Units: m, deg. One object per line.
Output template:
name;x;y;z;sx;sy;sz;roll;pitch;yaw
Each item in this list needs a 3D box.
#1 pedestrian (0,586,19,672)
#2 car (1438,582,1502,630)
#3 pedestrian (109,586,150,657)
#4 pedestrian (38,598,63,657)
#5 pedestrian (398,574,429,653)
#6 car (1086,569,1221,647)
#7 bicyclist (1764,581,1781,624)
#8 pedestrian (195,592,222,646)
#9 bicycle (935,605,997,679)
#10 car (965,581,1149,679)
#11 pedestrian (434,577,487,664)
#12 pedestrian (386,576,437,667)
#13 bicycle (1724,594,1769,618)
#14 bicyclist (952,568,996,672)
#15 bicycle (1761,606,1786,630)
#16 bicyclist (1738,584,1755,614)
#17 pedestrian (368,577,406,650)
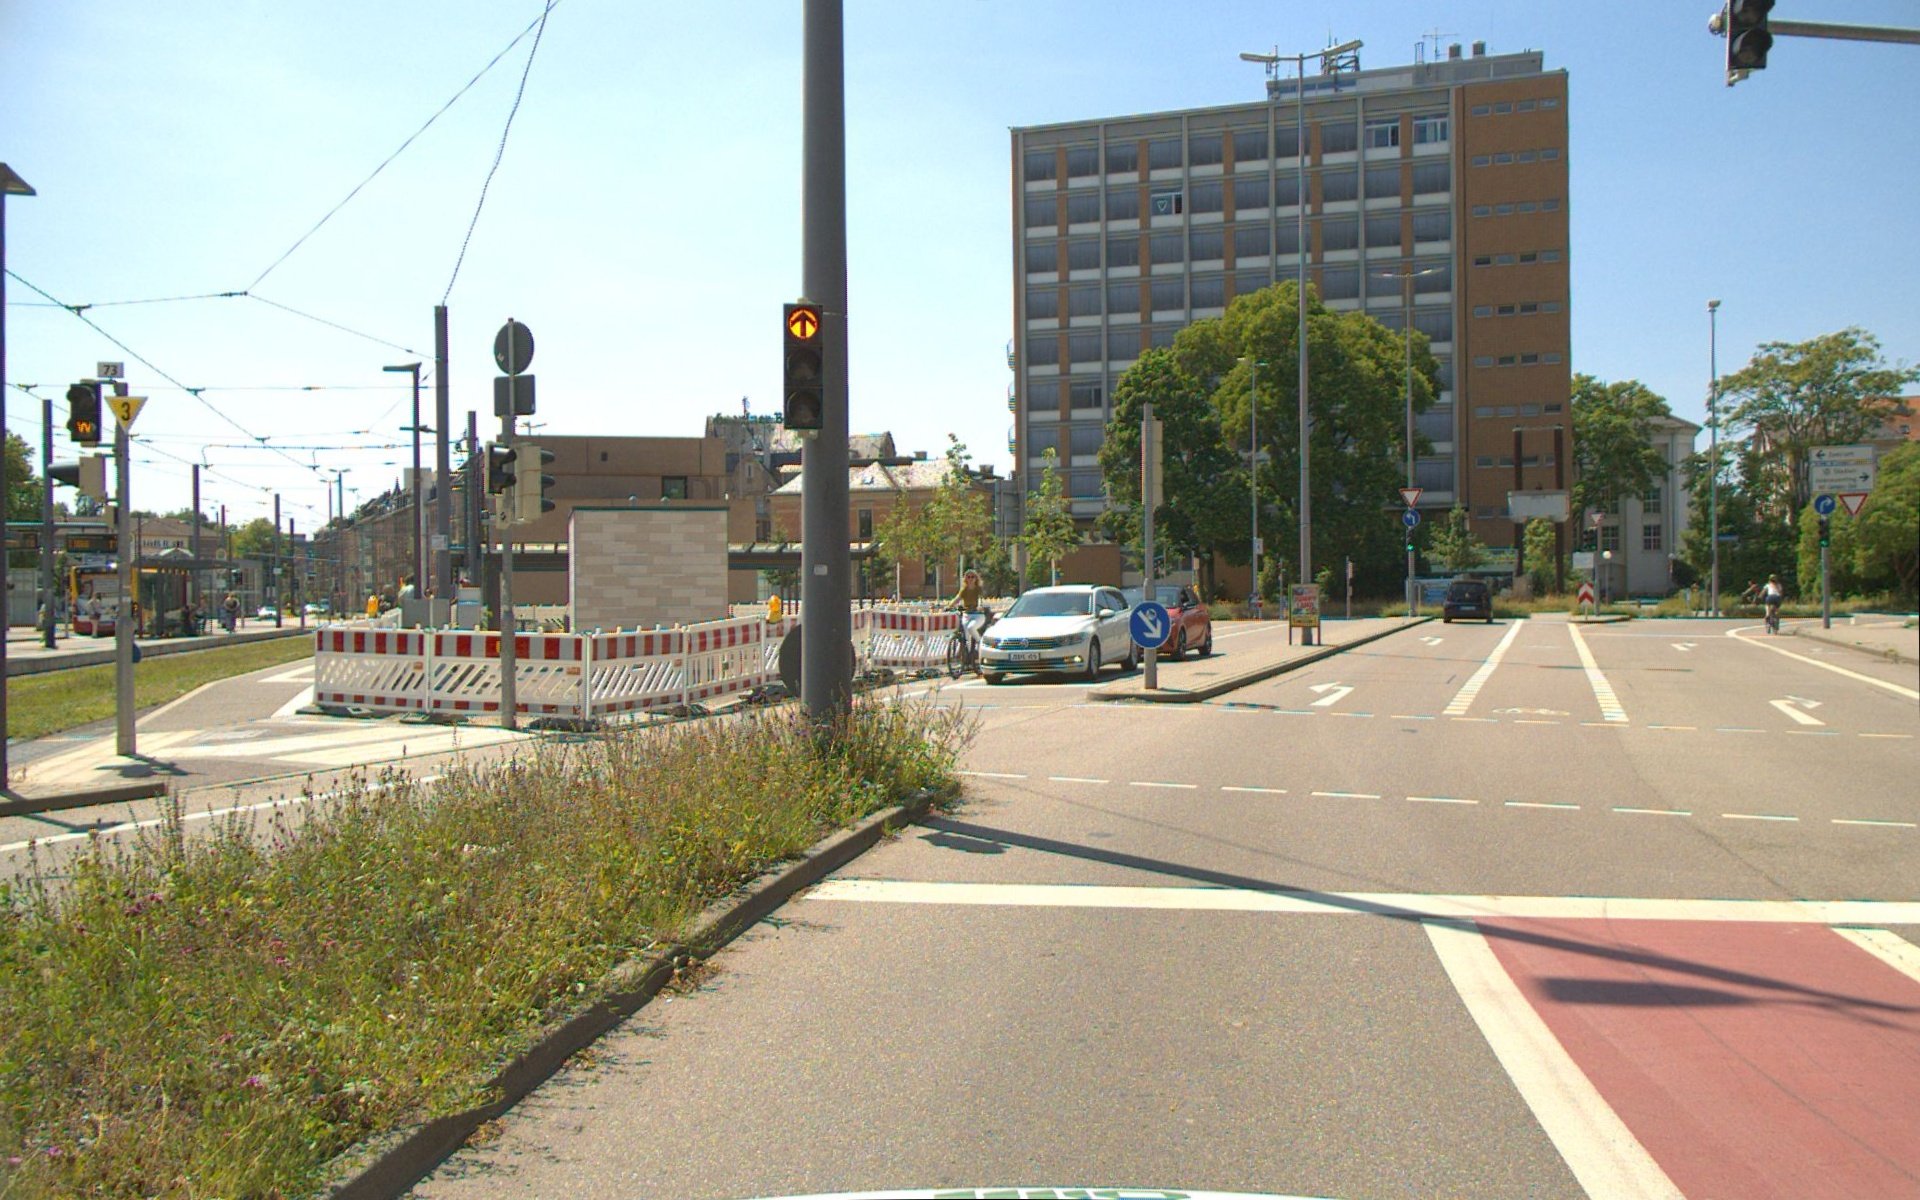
pedestrian;-24.292;0.728;41.530;0.883;2.133;0.829;-1;0;-10
car;17.556;0.201;57.097;1.652;1.553;3.693;-1;0;10
pedestrian;-25.447;0.655;50.674;0.883;2.133;0.829;-1;0;-10
pedestrian;-33.538;1.000;60.993;0.700;2.148;0.648;-1;0;-39
pedestrian;-13.735;0.339;41.549;0.708;1.957;1.068;0;-1;-20
car;3.967;0.153;33.394;1.695;1.450;4.123;-1;0;22
bicyclist;23.703;0.067;48.226;0.346;1.249;0.562;-1;0;36
pedestrian;-29.852;0.741;65.702;0.815;2.133;0.898;-1;0;-16
bicycle;0.112;0.691;28.000;0.390;1.194;1.770;-1;0;22
car;1.705;0.468;27.296;1.951;1.463;4.708;-1;0;17
pedestrian;-11.027;0.441;36.505;0.966;1.864;0.627;-1;0;-30
pedestrian;-11.691;0.458;35.261;0.715;1.897;0.764;-1;-1;34
bicycle;39.095;0.321;82.193;1.970;1.155;0.572;-1;-1;32
bicyclist;0.239;0.343;28.167;0.556;1.749;0.506;-2;0;26
bicycle;23.714;0.511;48.224;0.370;0.657;1.638;-1;0;36
bicyclist;39.102;-0.043;82.222;0.671;1.514;0.782;-1;-1;30
pedestrian;-13.875;0.333;40.034;0.719;1.736;0.735;0;-1;-32
